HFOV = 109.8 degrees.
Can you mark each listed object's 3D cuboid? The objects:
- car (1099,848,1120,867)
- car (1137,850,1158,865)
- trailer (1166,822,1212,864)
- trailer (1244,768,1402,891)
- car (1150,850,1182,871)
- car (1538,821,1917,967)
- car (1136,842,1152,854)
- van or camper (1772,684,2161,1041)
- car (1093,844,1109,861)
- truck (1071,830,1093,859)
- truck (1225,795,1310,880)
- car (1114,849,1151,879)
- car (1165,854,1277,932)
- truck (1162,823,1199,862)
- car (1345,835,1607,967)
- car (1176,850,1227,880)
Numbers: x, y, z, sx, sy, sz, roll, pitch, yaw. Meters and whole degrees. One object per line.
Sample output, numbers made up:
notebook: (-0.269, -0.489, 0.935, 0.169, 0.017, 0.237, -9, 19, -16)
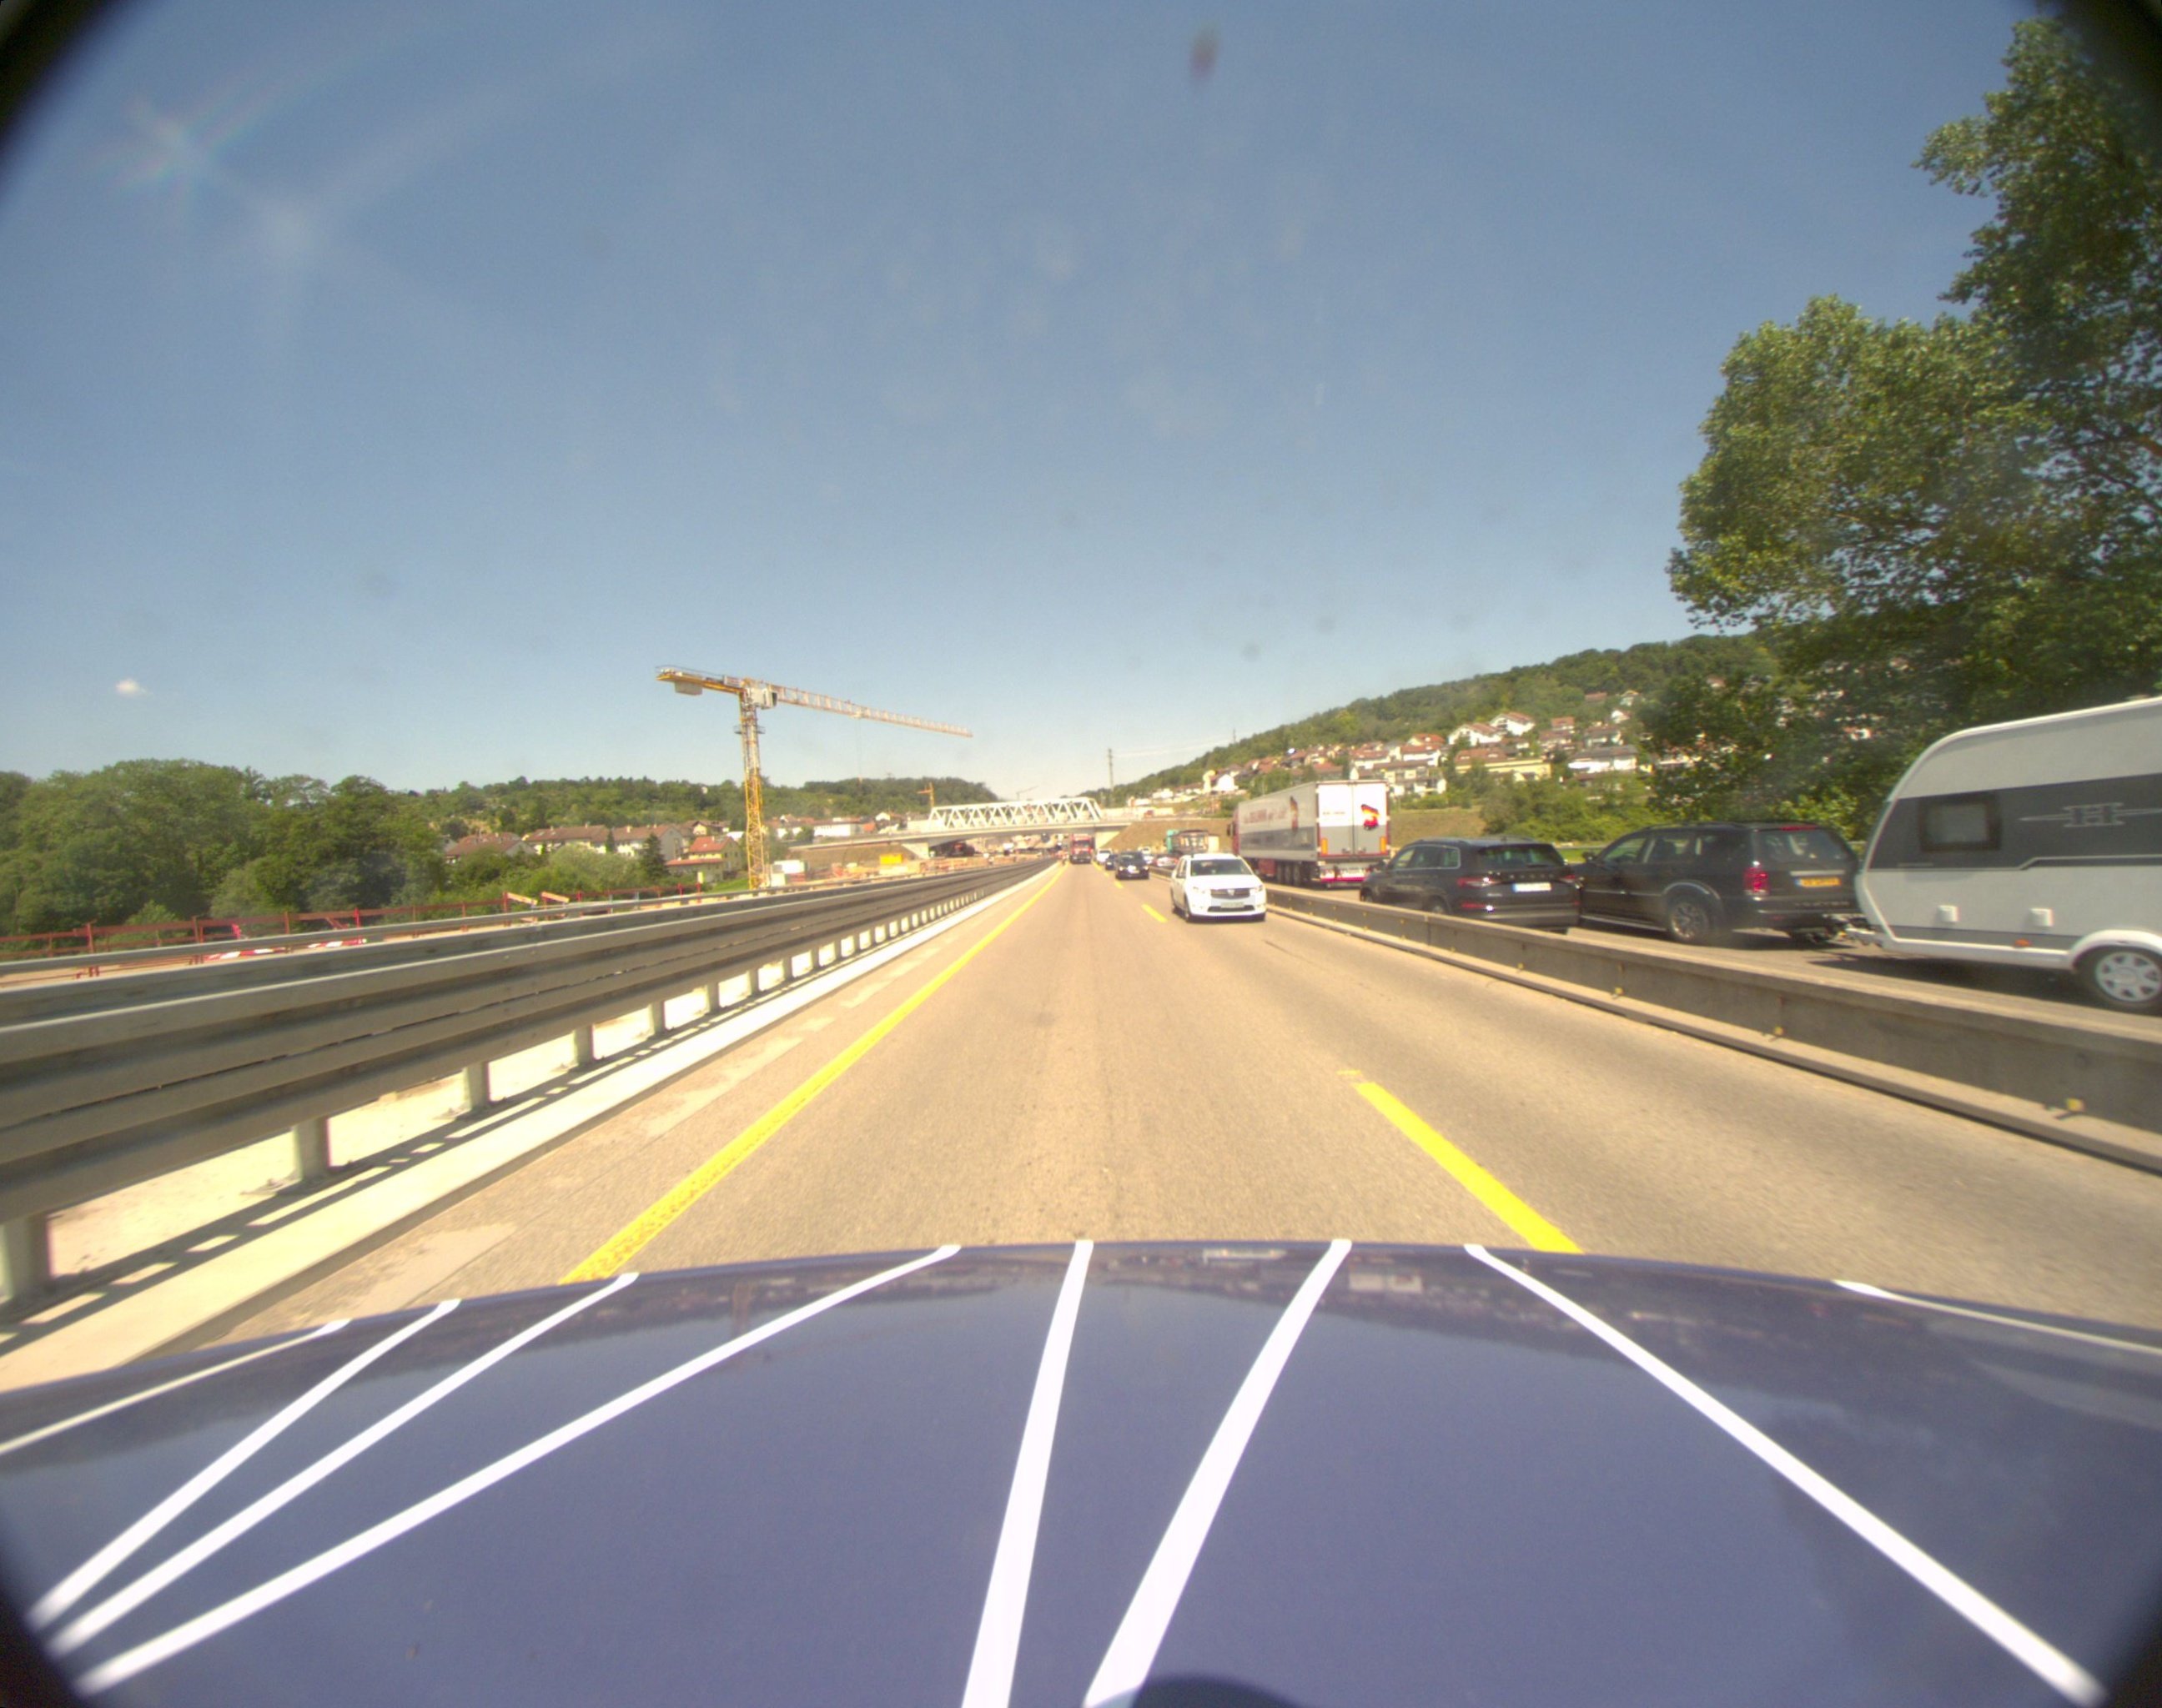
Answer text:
car: (2.573, 0.304, 69.346, 1.791, 1.578, 4.000, -4, 0, 1)
car: (6.399, 0.321, 73.364, 1.785, 1.372, 4.712, 0, 0, 3)
trailer: (9.901, -1.010, 70.797, 2.801, 3.651, 8.955, -2, 1, -1)
trailer: (9.662, -0.835, 32.299, 2.813, 4.152, 11.798, -2, 0, 0)
car: (6.535, 0.478, 58.852, 1.895, 1.479, 4.919, -3, 0, 0)
car: (9.348, 0.476, 11.681, 1.772, 1.724, 4.791, -2, 0, 1)
car: (9.725, -0.902, 117.534, 1.864, 1.856, 4.628, -1, 0, -1)
van or camper: (9.371, 0.027, 6.325, 2.509, 2.683, 5.243, -2, 0, 2)
car: (2.480, -0.213, 92.568, 1.791, 1.871, 4.000, -4, 0, 1)
truck: (0.177, -1.350, 103.574, 2.702, 3.705, 8.507, -2, 1, 2)
truck: (9.695, -0.770, 40.156, 2.823, 4.013, 6.522, -2, 0, 1)
car: (3.059, 0.560, 45.639, 1.862, 1.683, 4.097, -2, 0, -1)
car: (3.177, 0.805, 18.183, 1.823, 1.521, 4.706, -3, 0, 1)
truck: (9.873, -1.162, 75.919, 2.804, 3.701, 5.372, -2, 1, 0)
car: (6.134, 0.629, 12.570, 1.852, 1.678, 4.618, -4, 0, 0)
car: (6.165, 0.522, 39.248, 1.906, 1.453, 4.193, 1, 0, -1)
